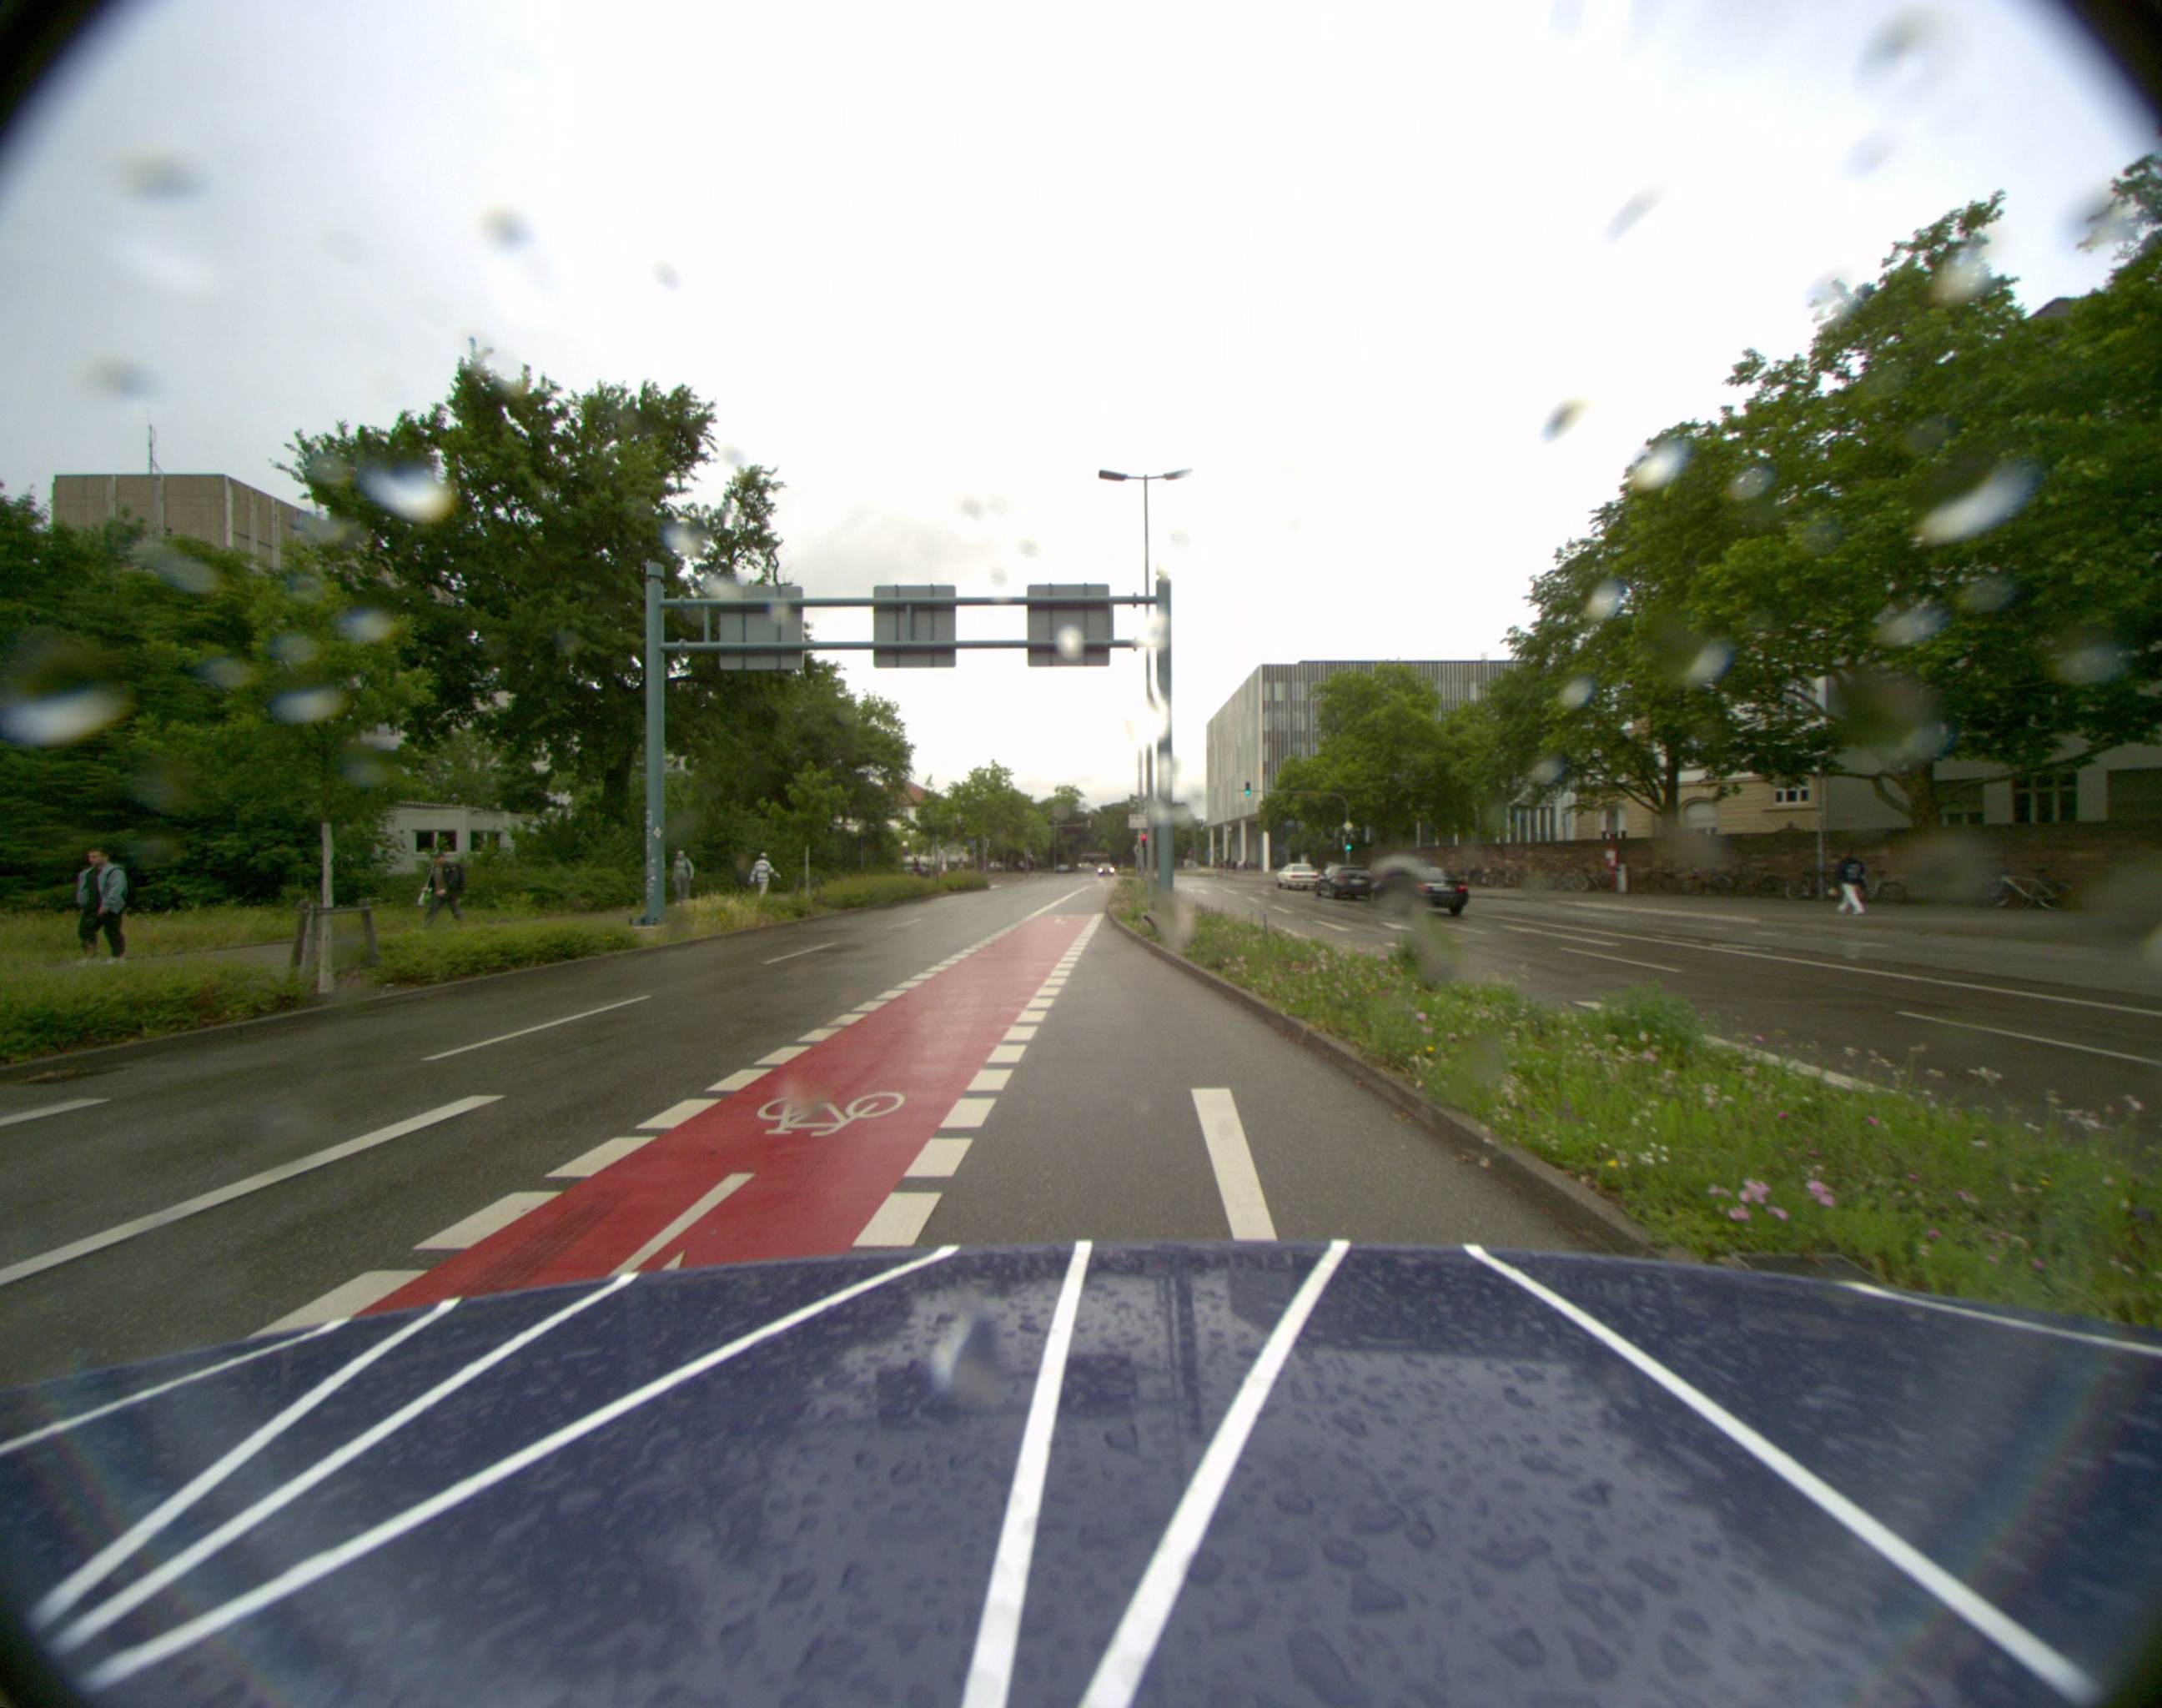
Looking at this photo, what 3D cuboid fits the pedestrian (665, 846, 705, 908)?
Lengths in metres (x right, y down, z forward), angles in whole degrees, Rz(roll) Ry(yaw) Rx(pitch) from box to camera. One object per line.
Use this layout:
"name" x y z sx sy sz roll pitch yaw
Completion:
"pedestrian" -12.950 0.750 24.849 0.792 2.002 0.829 0 0 9

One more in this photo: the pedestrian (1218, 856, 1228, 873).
"pedestrian" 15.826 1.178 84.415 0.787 1.813 0.794 0 0 -20

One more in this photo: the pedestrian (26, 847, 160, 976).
"pedestrian" -14.342 0.805 11.053 0.935 1.786 0.829 0 0 9

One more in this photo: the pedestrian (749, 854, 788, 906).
"pedestrian" -10.603 0.890 25.789 0.935 1.710 0.830 -2 -3 8

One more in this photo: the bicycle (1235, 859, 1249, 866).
"bicycle" 25.880 1.384 122.110 2.282 1.215 0.599 0 0 12

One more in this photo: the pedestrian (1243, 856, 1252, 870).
"pedestrian" 20.764 1.106 94.753 0.787 1.813 0.623 0 0 -20

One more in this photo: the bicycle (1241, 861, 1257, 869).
"bicycle" 25.642 1.635 115.852 2.286 1.215 0.598 0 0 -10

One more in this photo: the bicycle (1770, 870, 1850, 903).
"bicycle" 22.783 1.004 23.790 0.733 0.977 1.700 -1 0 -8

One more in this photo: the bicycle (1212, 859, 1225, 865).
"bicycle" 25.354 1.482 140.114 2.282 1.215 0.599 0 0 12

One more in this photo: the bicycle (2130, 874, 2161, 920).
"bicycle" 24.162 0.946 16.366 0.733 0.977 1.700 -1 0 -8

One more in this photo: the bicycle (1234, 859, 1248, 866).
"bicycle" 25.957 1.351 123.195 2.282 1.215 0.599 0 0 12

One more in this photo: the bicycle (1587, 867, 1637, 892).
"bicycle" 21.873 1.051 31.332 0.733 0.977 1.700 -1 0 -8

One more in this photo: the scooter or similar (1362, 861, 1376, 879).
"scooter or similar" 19.996 1.118 52.828 0.392 1.191 1.142 -7 0 -2

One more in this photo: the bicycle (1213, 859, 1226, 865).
"bicycle" 25.357 1.475 139.228 2.282 1.215 0.599 0 0 12

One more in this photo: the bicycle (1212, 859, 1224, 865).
"bicycle" 25.685 1.500 142.605 2.282 1.215 0.599 0 0 12

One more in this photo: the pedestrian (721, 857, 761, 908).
"pedestrian" -11.642 0.972 26.047 0.935 1.693 0.830 -2 -3 8

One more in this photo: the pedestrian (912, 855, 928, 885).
"pedestrian" -10.324 1.018 48.699 0.731 1.848 0.851 0 0 9

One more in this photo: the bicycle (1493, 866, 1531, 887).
"bicycle" 21.228 1.101 37.482 0.733 0.977 1.700 -1 0 -8

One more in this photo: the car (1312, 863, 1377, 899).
"car" 11.289 1.131 32.850 1.627 1.407 4.067 1 0 4

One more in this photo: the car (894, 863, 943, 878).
"car" -15.973 1.579 74.855 4.387 1.330 1.772 0 2 -1

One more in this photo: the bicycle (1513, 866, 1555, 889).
"bicycle" 21.031 1.085 35.307 0.733 0.977 1.864 -1 0 -4

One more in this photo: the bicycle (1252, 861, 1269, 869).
"bicycle" 26.638 1.606 112.691 2.286 1.215 0.598 0 0 -10

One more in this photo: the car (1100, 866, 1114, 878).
"car" 3.086 2.142 90.843 1.660 1.356 4.107 0 0 1

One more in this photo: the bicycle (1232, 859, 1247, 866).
"bicycle" 25.921 1.359 124.233 2.282 1.215 0.599 0 0 12

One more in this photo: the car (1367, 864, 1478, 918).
"car" 10.852 1.109 24.554 1.812 1.531 4.705 1 0 5

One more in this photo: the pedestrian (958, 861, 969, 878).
"pedestrian" -11.167 1.433 72.303 0.878 1.597 0.862 0 0 -19

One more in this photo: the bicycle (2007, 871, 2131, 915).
"bicycle" 23.917 0.917 18.438 0.733 0.977 1.700 -1 0 -8

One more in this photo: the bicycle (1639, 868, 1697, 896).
"bicycle" 22.048 1.029 28.572 0.733 0.977 1.700 -1 0 -8

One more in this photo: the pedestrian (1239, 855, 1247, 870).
"pedestrian" 20.527 1.061 96.073 0.787 1.813 0.623 0 0 -20

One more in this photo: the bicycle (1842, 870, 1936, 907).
"bicycle" 22.753 0.950 21.433 0.733 0.977 1.700 -1 0 -8

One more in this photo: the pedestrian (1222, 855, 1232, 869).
"pedestrian" 18.779 1.045 97.645 0.941 1.813 0.922 0 0 -27

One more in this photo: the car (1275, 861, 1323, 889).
"car" 11.918 1.118 41.830 1.599 1.407 4.526 1 0 4

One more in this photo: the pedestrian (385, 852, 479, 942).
"pedestrian" -12.947 0.833 15.189 0.935 1.737 1.046 0 0 9

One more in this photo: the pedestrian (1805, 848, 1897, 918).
"pedestrian" 19.432 0.717 19.220 0.871 1.685 1.399 -1 0 -3

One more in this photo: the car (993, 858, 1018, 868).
"car" -13.771 1.645 138.869 4.425 1.861 1.637 0 0 -5

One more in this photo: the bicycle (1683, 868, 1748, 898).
"bicycle" 22.377 1.014 26.850 0.733 0.977 1.700 -1 0 -8

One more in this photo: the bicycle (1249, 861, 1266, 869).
"bicycle" 26.332 1.612 113.319 2.286 1.215 0.598 0 0 -10

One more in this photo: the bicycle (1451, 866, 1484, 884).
"bicycle" 20.943 1.130 41.202 0.733 0.977 1.700 -1 0 -8

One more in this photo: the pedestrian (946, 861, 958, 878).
"pedestrian" -12.211 1.430 72.110 0.879 1.597 0.861 0 0 -29

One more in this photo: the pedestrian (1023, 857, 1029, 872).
"pedestrian" -6.711 1.259 92.626 0.625 1.813 0.786 0 0 -11

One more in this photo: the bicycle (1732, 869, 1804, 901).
"bicycle" 22.688 1.014 25.141 0.733 0.977 1.700 -1 0 -8

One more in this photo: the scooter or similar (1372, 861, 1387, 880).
"scooter or similar" 20.019 1.104 50.990 0.392 1.191 1.142 -7 0 -3

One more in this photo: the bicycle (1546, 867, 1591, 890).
"bicycle" 21.432 1.069 33.457 0.733 0.977 1.700 -1 0 -8

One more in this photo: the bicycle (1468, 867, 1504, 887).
"bicycle" 20.863 1.157 39.178 0.733 0.977 1.700 -1 0 -8

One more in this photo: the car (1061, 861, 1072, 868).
"car" -2.396 1.715 124.787 1.660 1.258 4.107 0 0 1

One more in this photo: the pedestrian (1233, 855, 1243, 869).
"pedestrian" 20.087 1.036 97.333 0.940 1.813 0.922 0 0 -20

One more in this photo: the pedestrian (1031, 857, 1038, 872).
"pedestrian" -5.732 1.281 93.076 0.625 1.813 0.785 0 0 -19
